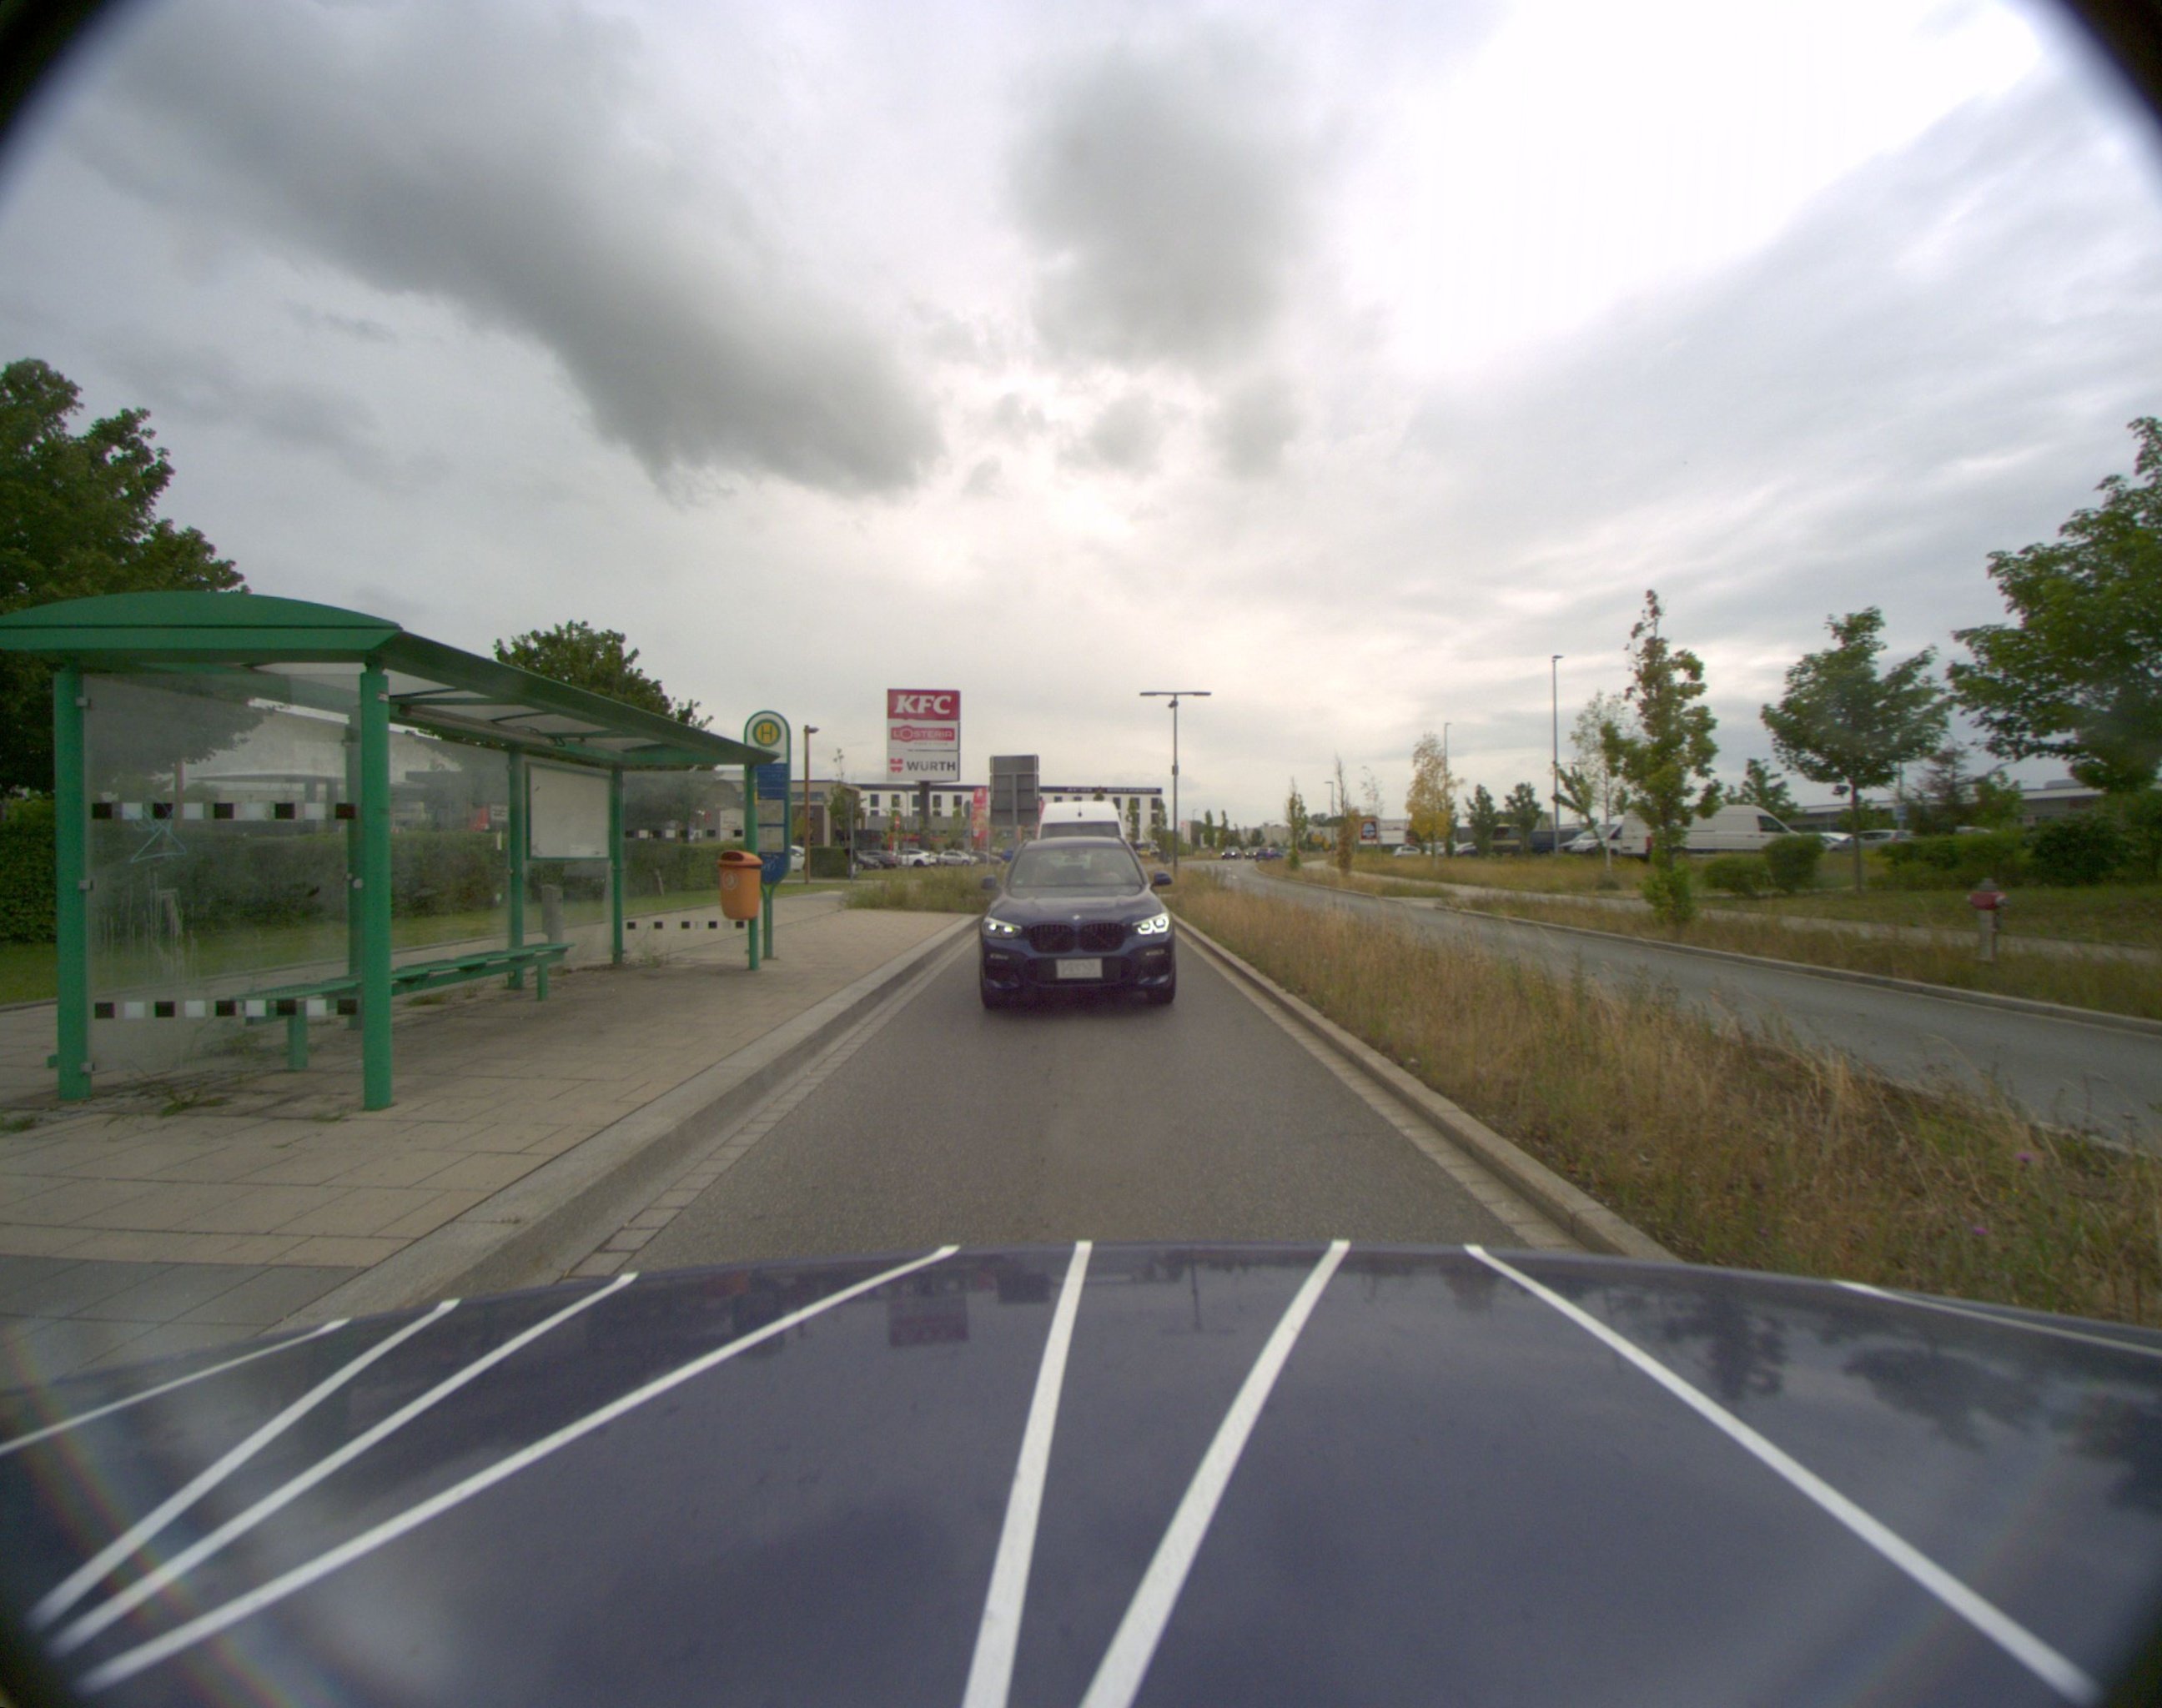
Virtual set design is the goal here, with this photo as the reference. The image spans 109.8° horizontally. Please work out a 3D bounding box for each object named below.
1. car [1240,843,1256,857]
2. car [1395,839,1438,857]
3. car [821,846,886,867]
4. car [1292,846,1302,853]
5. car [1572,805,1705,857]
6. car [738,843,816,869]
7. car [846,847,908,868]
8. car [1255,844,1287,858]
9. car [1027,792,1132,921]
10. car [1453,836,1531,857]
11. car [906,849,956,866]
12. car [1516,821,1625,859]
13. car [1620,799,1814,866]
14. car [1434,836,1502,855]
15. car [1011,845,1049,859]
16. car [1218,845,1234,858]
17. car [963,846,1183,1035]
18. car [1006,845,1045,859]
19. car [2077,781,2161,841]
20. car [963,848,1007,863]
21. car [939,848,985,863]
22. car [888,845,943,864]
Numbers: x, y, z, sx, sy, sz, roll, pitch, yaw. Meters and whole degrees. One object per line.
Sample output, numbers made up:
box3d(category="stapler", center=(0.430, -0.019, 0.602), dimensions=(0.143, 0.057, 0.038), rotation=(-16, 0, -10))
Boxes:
box3d(category="car", center=(21.572, -0.524, 98.330), dimensions=(1.997, 1.565, 4.003), rotation=(-2, 1, 12))
box3d(category="car", center=(35.089, -0.637, 79.545), dimensions=(3.991, 1.660, 2.003), rotation=(-2, 0, 20))
box3d(category="car", center=(-15.921, 0.175, 53.282), dimensions=(3.994, 1.477, 1.848), rotation=(0, 1, 9))
box3d(category="car", center=(41.385, -0.852, 145.507), dimensions=(1.731, 1.484, 4.004), rotation=(0, 0, 13))
box3d(category="car", center=(27.506, -1.116, 37.589), dimensions=(5.053, 2.359, 2.064), rotation=(-2, 1, 1))
box3d(category="car", center=(-18.339, 0.106, 45.944), dimensions=(3.997, 1.519, 1.847), rotation=(0, 1, 1))
box3d(category="car", center=(-15.062, 0.250, 56.122), dimensions=(3.994, 1.477, 1.848), rotation=(0, 1, 9))
box3d(category="car", center=(20.751, -0.346, 82.717), dimensions=(1.729, 1.504, 4.008), rotation=(0, 1, 42))
box3d(category="car", center=(-0.040, 0.031, 17.807), dimensions=(2.026, 2.513, 6.104), rotation=(0, 0, 0))
box3d(category="car", center=(32.686, -0.576, 60.517), dimensions=(5.049, 1.647, 2.066), rotation=(0, 1, 10))
box3d(category="car", center=(-13.442, 0.274, 68.129), dimensions=(3.994, 1.477, 1.848), rotation=(0, 1, 8))
box3d(category="car", center=(29.225, -0.822, 45.516), dimensions=(5.050, 2.211, 2.066), rotation=(0, 1, 8))
box3d(category="car", center=(27.329, -0.903, 32.849), dimensions=(6.413, 2.609, 2.065), rotation=(-2, 2, 4))
box3d(category="car", center=(34.548, -0.725, 67.967), dimensions=(5.049, 1.647, 2.066), rotation=(0, 1, 10))
box3d(category="car", center=(-5.933, -0.218, 88.909), dimensions=(3.992, 1.477, 1.849), rotation=(-1, 1, 17))
box3d(category="car", center=(19.218, -0.395, 100.370), dimensions=(1.997, 1.565, 4.002), rotation=(-2, 1, 11))
box3d(category="car", center=(-0.075, 0.721, 8.456), dimensions=(1.867, 1.598, 3.999), rotation=(0, 0, 0))
box3d(category="car", center=(-6.290, -0.218, 86.334), dimensions=(3.992, 1.477, 1.849), rotation=(-1, 1, 17))
box3d(category="car", center=(43.176, -1.704, 29.561), dimensions=(2.064, 2.359, 5.054), rotation=(-2, 1, -4))
box3d(category="car", center=(-9.698, 0.169, 77.089), dimensions=(3.993, 1.477, 1.849), rotation=(0, 1, 13))
box3d(category="car", center=(-11.346, 0.139, 72.589), dimensions=(3.993, 1.477, 1.849), rotation=(0, 1, 13))
box3d(category="car", center=(-13.691, 0.033, 62.869), dimensions=(3.994, 1.513, 1.848), rotation=(0, 1, 9))
